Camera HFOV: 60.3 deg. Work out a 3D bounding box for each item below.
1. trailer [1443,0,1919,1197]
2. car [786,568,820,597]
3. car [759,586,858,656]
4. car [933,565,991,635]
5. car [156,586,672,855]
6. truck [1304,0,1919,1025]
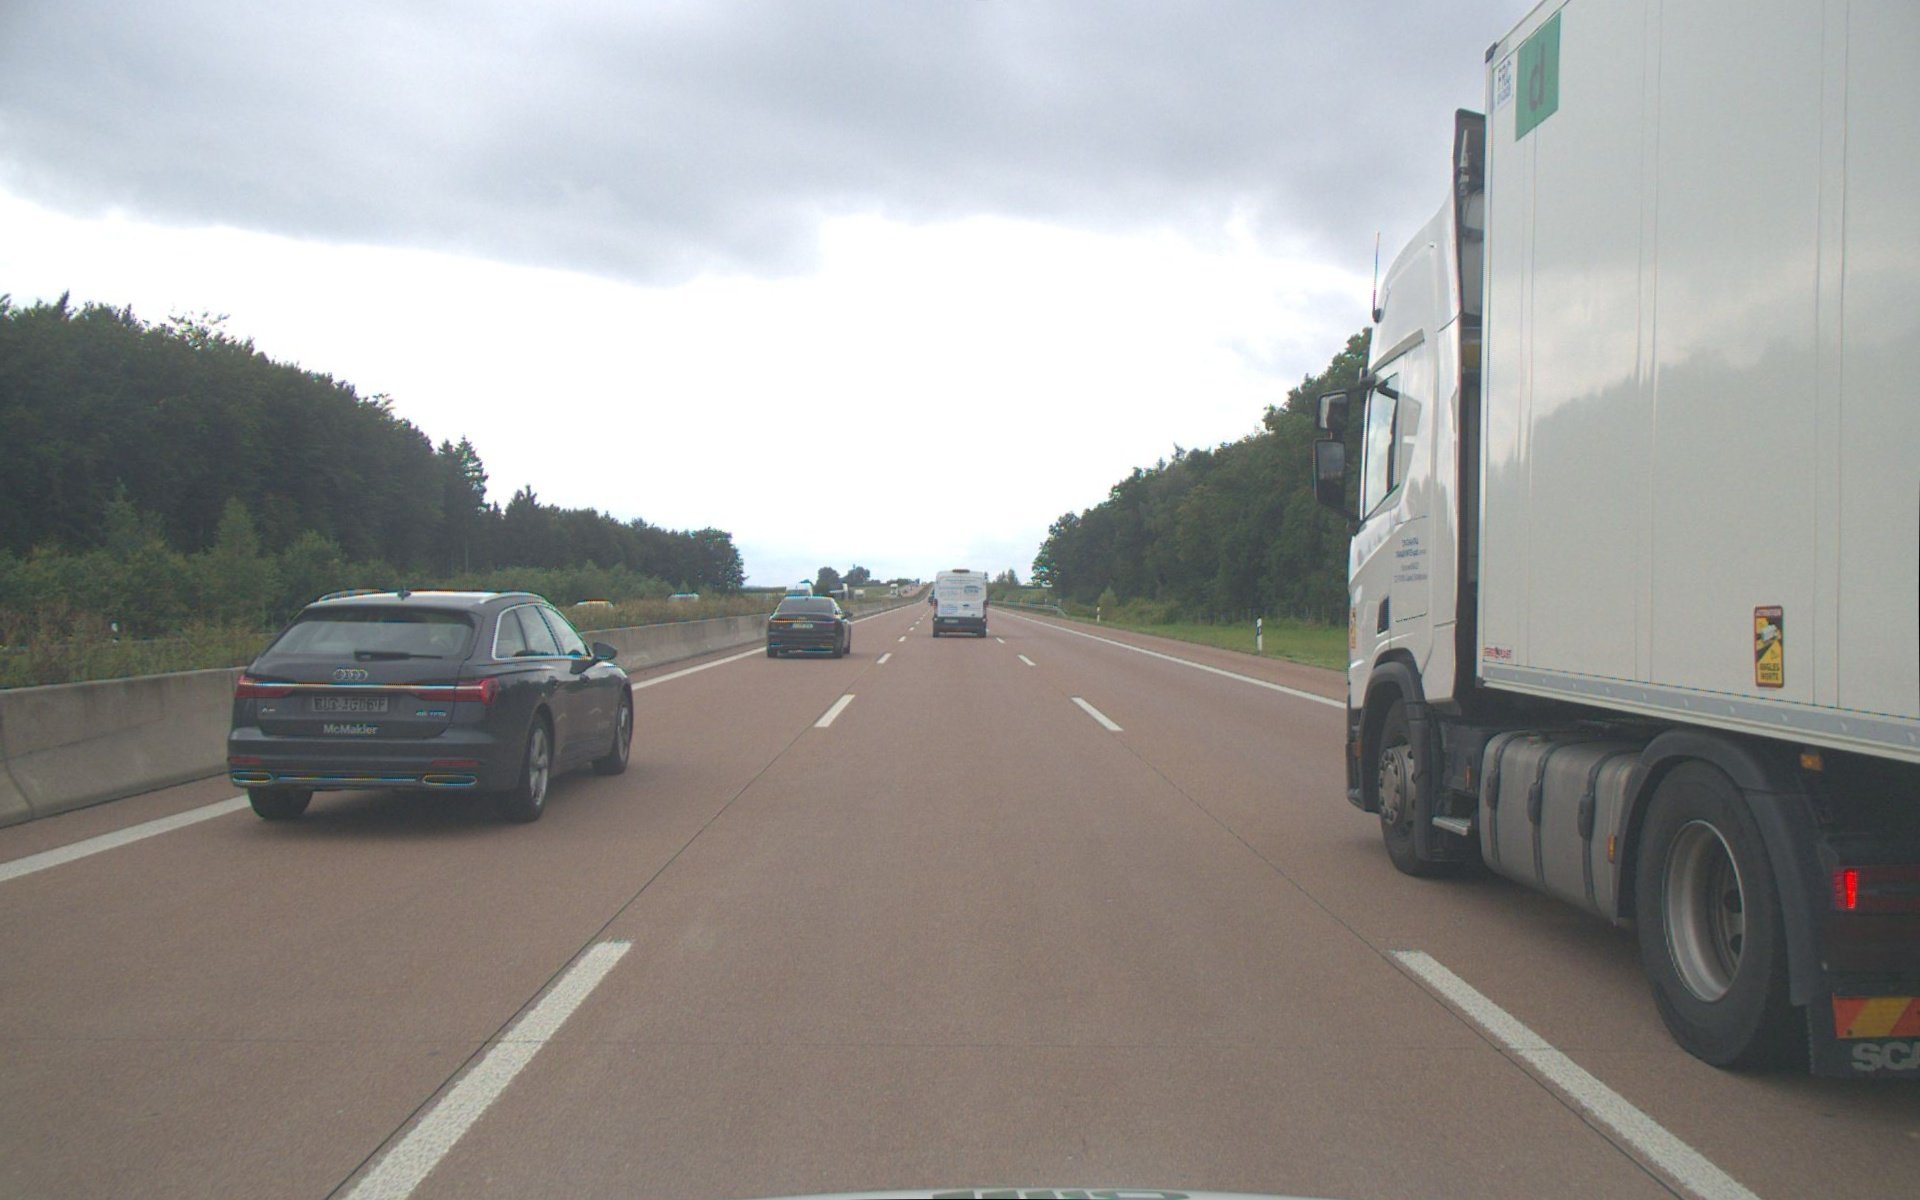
[{"bbox_3d":[3.943,-0.642,1.400,2.862,4.369,13.611,0,0,-1],"label":"trailer"},{"bbox_3d":[-12.723,-1.389,134.362,2.030,2.179,7.487,1,0,-1],"label":"car"},{"bbox_3d":[-3.691,0.461,41.159,2.043,1.577,5.673,1,1,-1],"label":"car"},{"bbox_3d":[0.060,-0.043,63.296,2.094,2.550,7.131,0,1,0],"label":"car"},{"bbox_3d":[-3.596,0.671,12.185,2.017,1.517,5.452,1,0,-1],"label":"car"},{"bbox_3d":[3.804,-0.695,8.507,2.862,4.369,5.333,0,0,-1],"label":"truck"}]
